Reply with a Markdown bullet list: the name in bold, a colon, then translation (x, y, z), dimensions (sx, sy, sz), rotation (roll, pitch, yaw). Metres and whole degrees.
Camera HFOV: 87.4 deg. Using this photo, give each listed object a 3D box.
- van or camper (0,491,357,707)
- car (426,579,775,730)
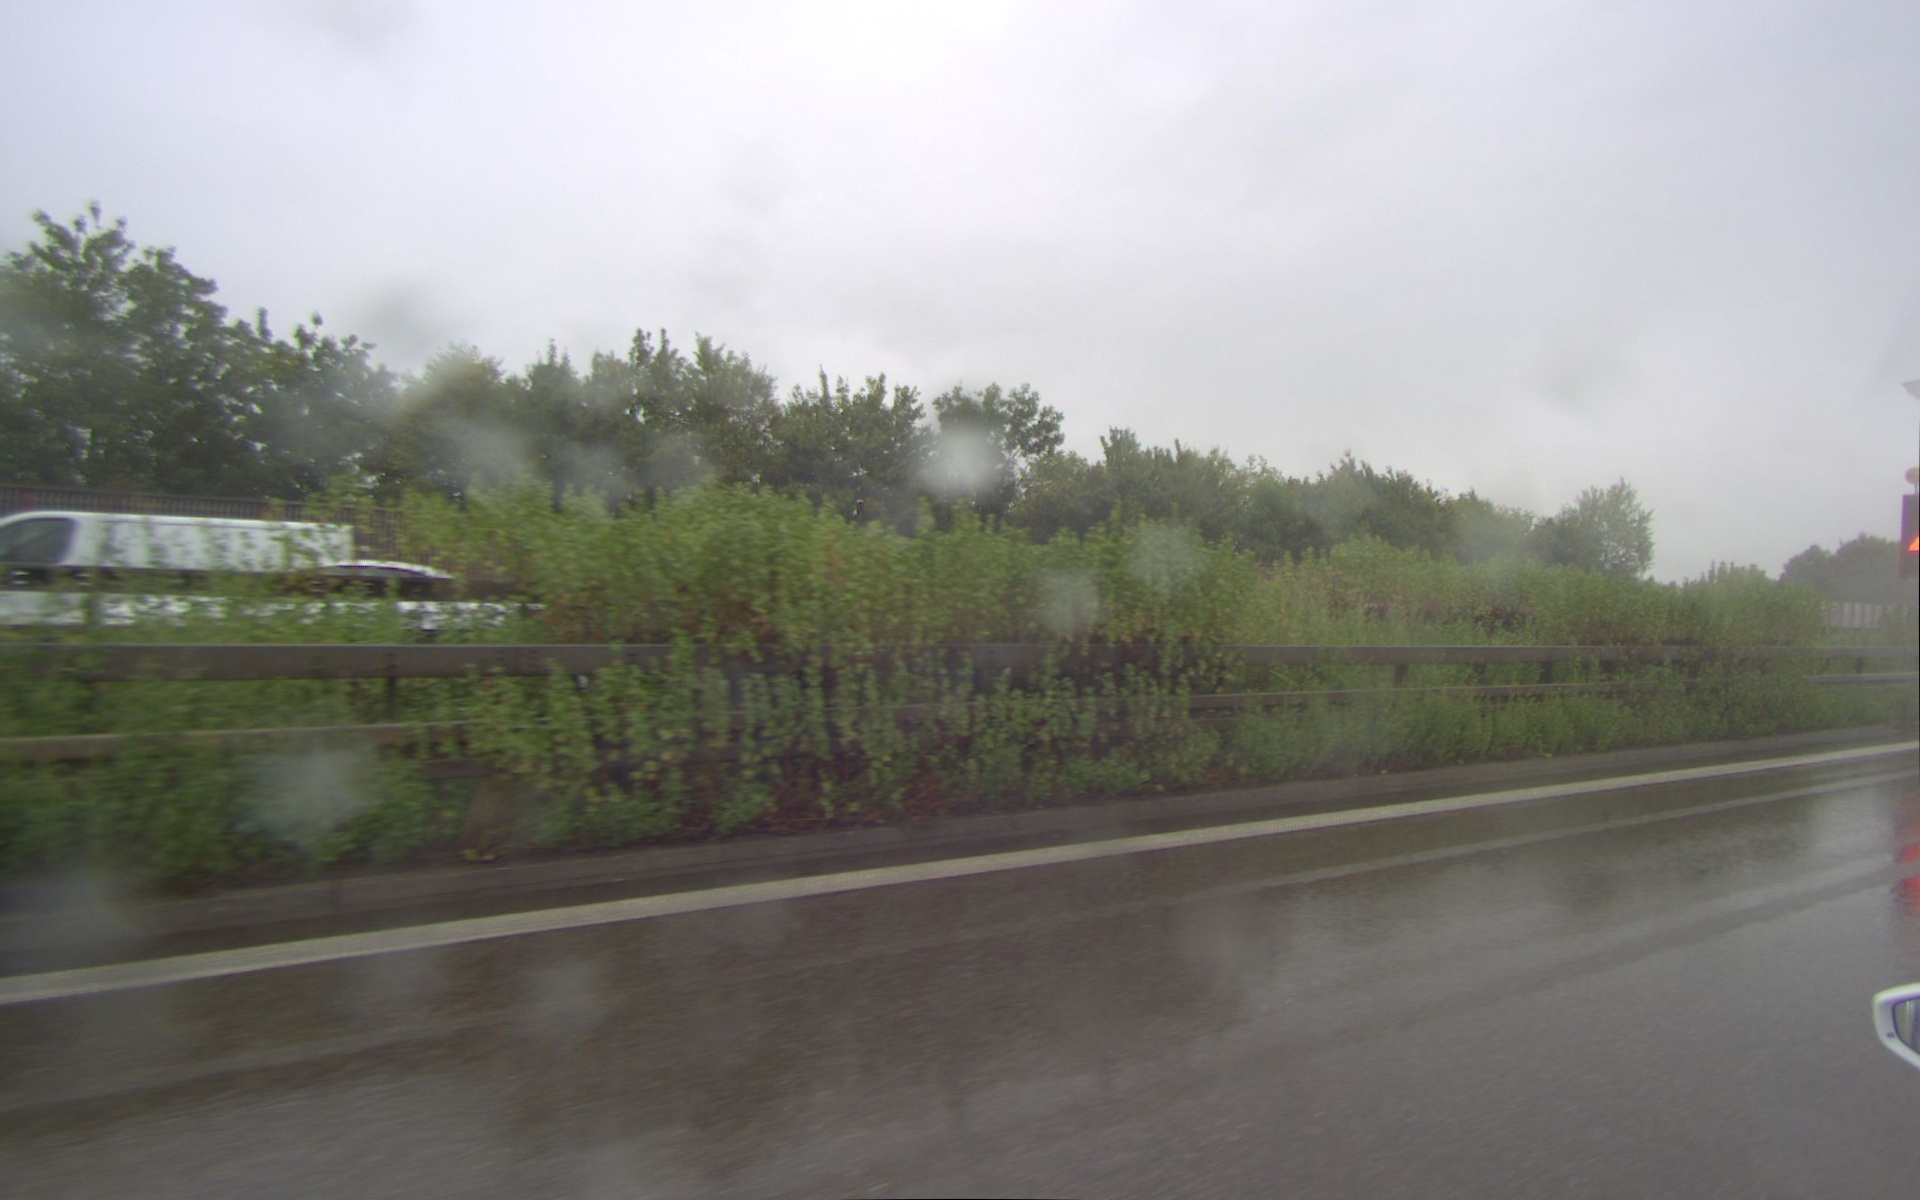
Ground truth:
- **van or camper**: translation (-10.346, 0.008, 12.737), dimensions (4.538, 2.426, 1.984), rotation (2, 0, -30)
- **car**: translation (-4.233, 0.588, 11.918), dimensions (3.641, 1.543, 1.741), rotation (1, 0, -30)
